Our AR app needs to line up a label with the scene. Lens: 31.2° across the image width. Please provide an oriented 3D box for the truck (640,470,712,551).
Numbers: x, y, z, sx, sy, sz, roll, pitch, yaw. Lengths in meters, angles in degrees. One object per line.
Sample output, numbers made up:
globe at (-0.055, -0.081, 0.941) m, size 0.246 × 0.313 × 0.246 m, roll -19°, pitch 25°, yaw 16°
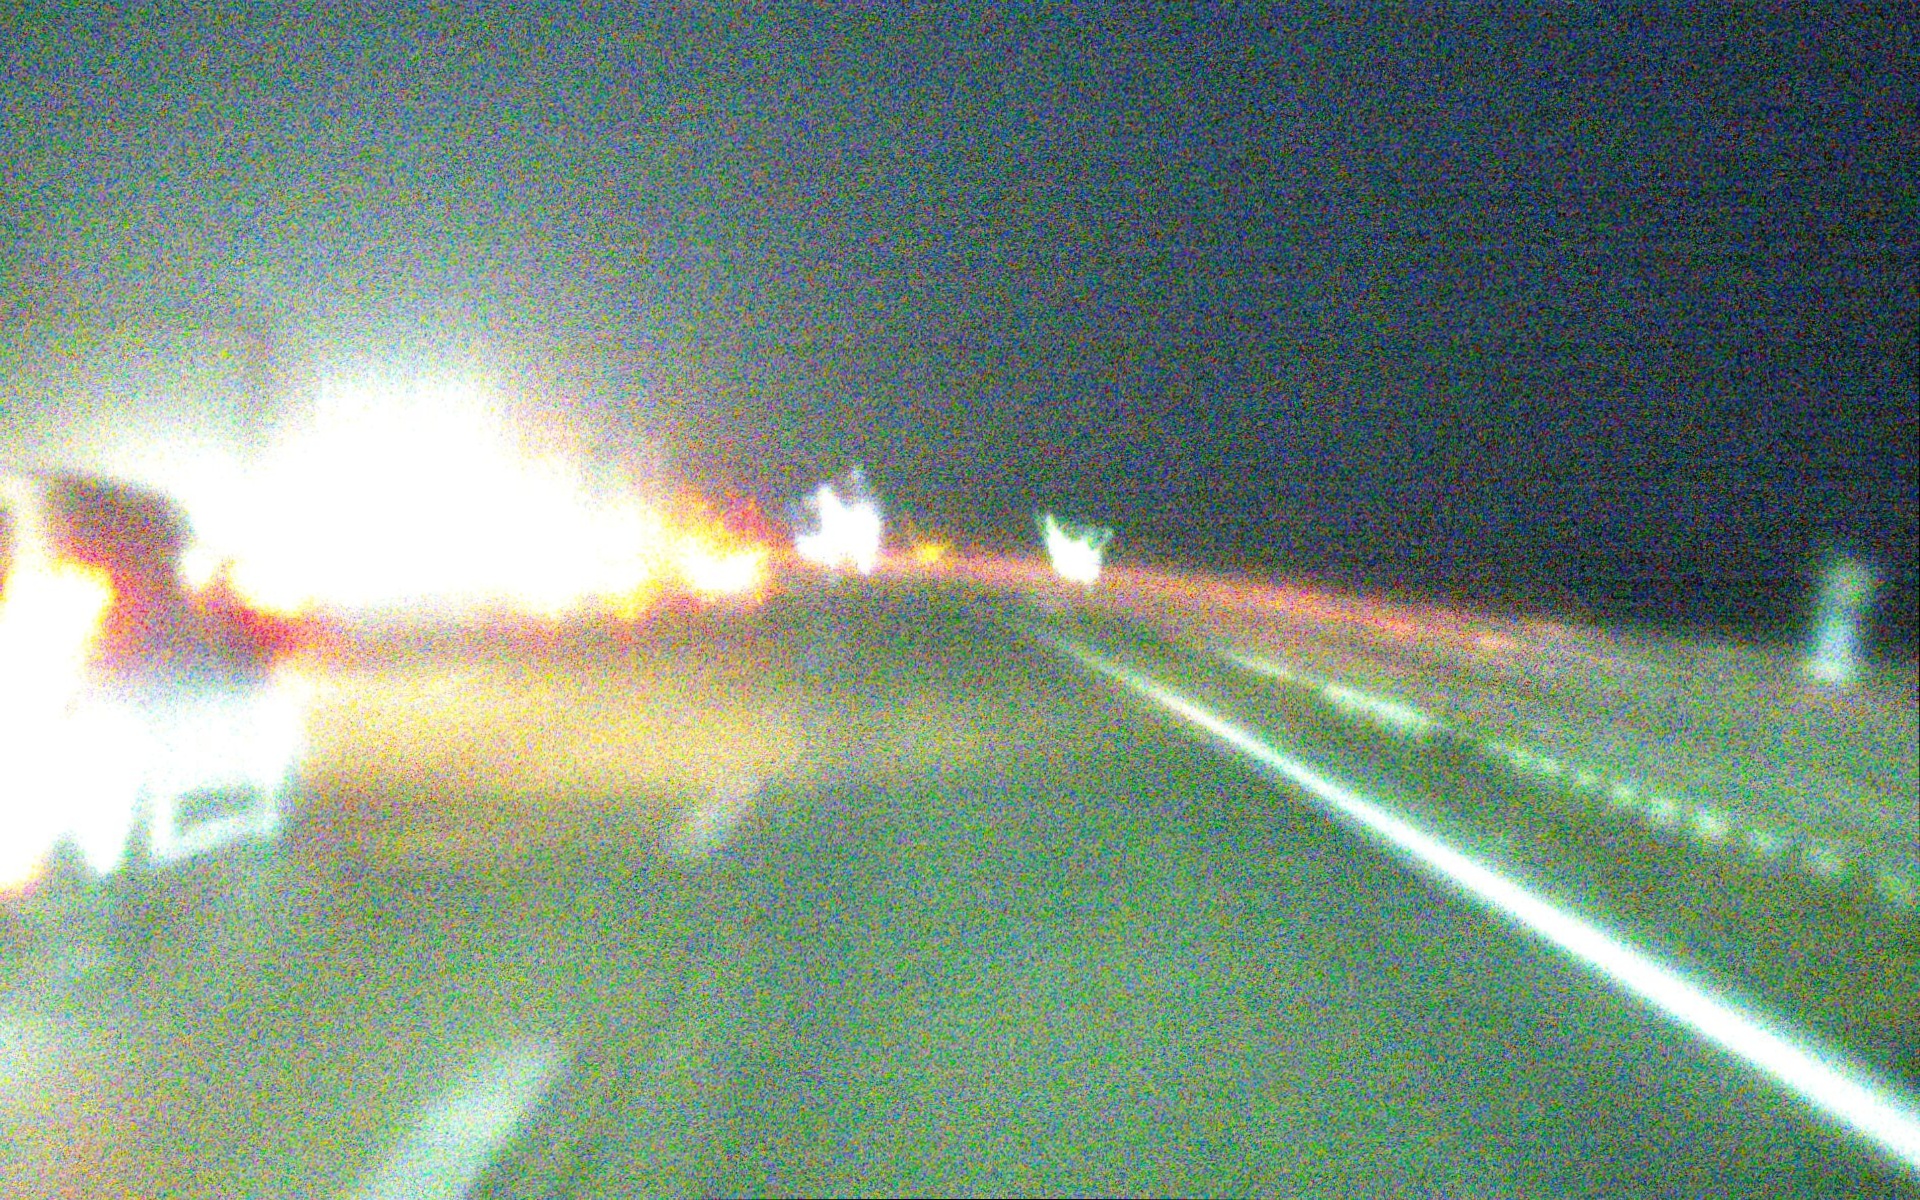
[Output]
truck at (-17.822, -5.524, 214.919) m, size 3.823 × 4.898 × 11.609 m, roll 1°, pitch 1°, yaw -8°

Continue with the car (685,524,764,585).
car at (-6.836, -1.319, 99.492) m, size 1.993 × 1.701 × 4.196 m, roll 1°, pitch 1°, yaw -8°

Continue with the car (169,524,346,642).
car at (-10.683, -0.269, 52.570) m, size 1.993 × 1.701 × 4.196 m, roll 1°, pitch 1°, yaw -2°

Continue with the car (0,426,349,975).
car at (-3.898, 0.287, 13.762) m, size 1.953 × 1.786 × 5.124 m, roll 1°, pitch 1°, yaw 0°

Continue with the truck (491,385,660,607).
truck at (-10.539, -2.695, 93.213) m, size 4.166 × 5.525 × 13.077 m, roll 1°, pitch 1°, yaw -7°
